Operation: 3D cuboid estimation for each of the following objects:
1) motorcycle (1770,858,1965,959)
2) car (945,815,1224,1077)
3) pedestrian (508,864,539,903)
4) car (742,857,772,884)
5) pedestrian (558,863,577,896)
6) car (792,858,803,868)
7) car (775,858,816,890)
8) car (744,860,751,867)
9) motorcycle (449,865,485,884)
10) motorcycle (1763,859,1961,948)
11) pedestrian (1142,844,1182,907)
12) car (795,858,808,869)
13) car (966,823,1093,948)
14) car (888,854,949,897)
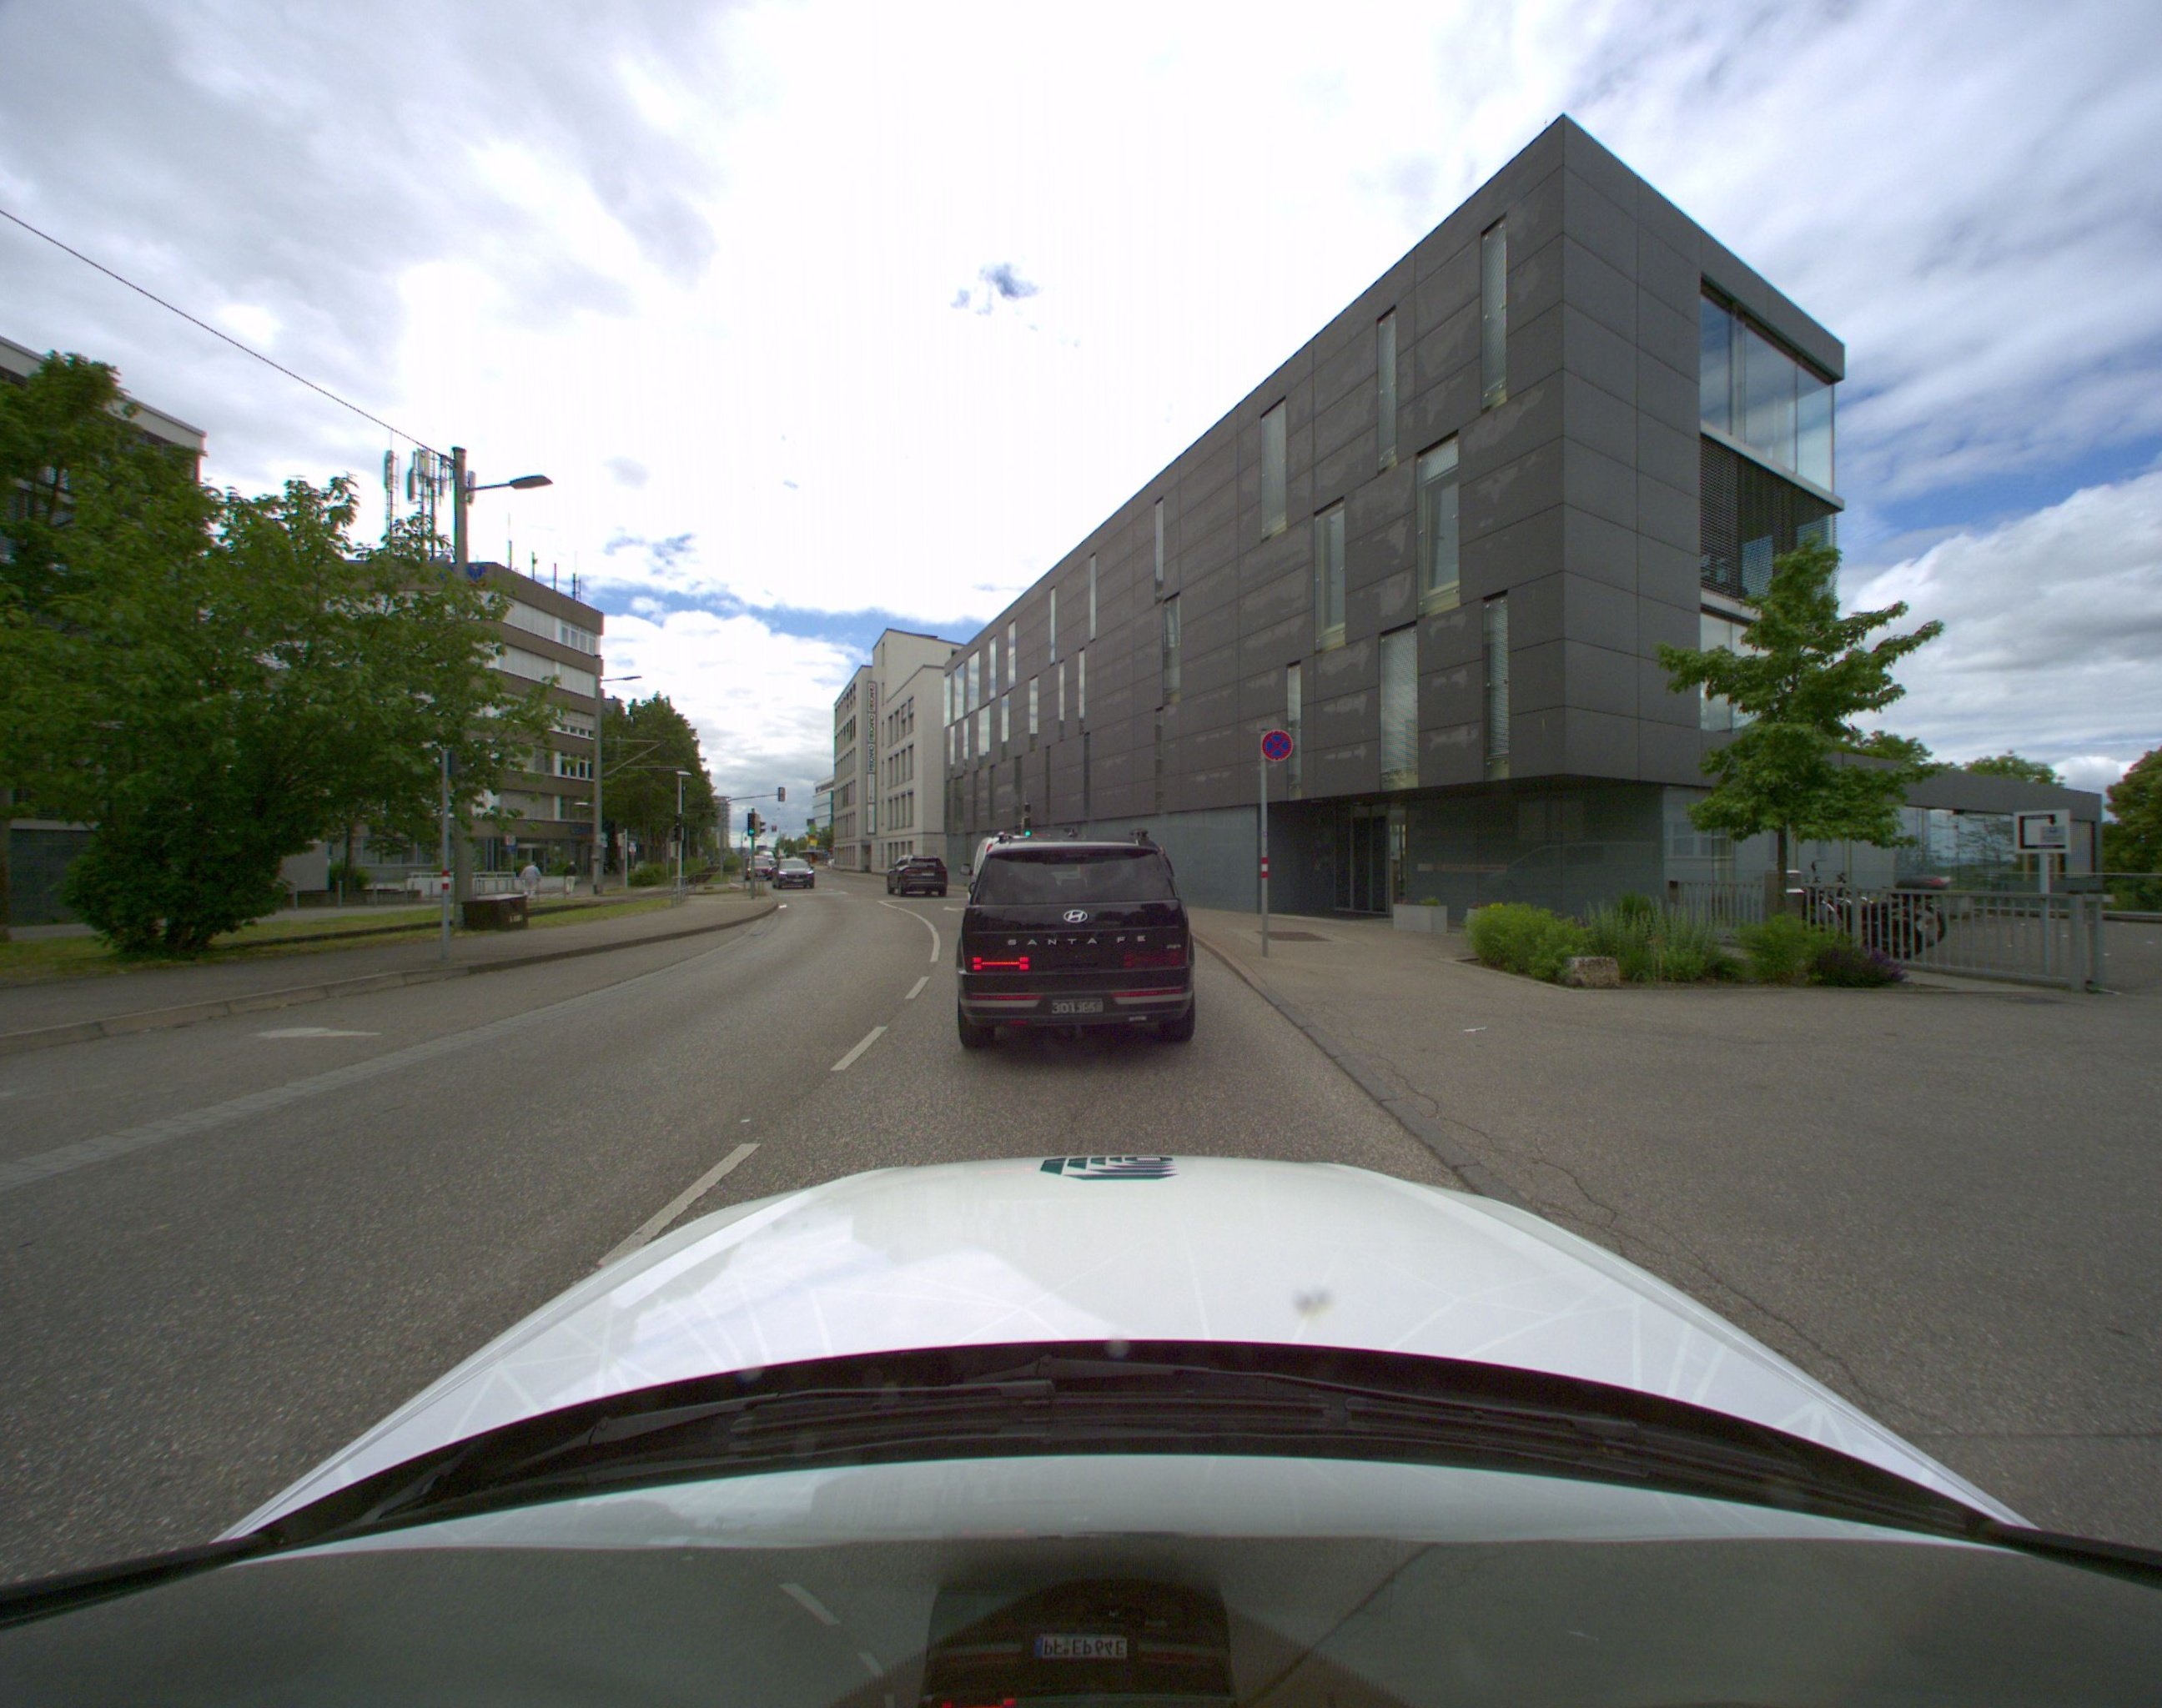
[{"bbox_3d":[12.030,0.772,12.566,0.669,1.393,2.112,0,1,-17],"label":"motorcycle"},{"bbox_3d":[-0.120,0.629,7.809,1.905,1.749,4.390,-1,0,-4],"label":"car"},{"bbox_3d":[-22.717,1.177,33.194,0.852,1.526,0.987,-2,0,-25],"label":"pedestrian"},{"bbox_3d":[-23.321,1.169,58.526,1.689,1.808,4.316,-2,0,-25],"label":"car"},{"bbox_3d":[-27.453,1.347,43.543,0.690,1.705,0.678,-2,0,-21],"label":"pedestrian"},{"bbox_3d":[-47.900,1.517,137.487,1.765,1.609,4.159,0,0,-20],"label":"car"},{"bbox_3d":[-14.820,1.000,42.156,1.775,1.479,3.970,-2,0,-22],"label":"car"},{"bbox_3d":[-90.453,2.611,221.121,1.673,1.882,3.970,0,0,-22],"label":"car"},{"bbox_3d":[-40.473,1.362,53.657,1.874,1.199,0.568,-1,0,-2],"label":"motorcycle"},{"bbox_3d":[13.351,0.780,14.053,0.669,1.393,2.449,0,0,-17],"label":"motorcycle"},{"bbox_3d":[2.241,0.577,22.501,0.717,1.694,0.856,1,-1,-37],"label":"pedestrian"},{"bbox_3d":[-41.471,1.341,120.758,1.765,1.609,4.159,0,0,-20],"label":"car"},{"bbox_3d":[-1.140,0.510,15.495,1.932,1.994,4.519,0,0,-10],"label":"car"},{"bbox_3d":[-6.629,0.816,32.919,1.765,1.609,4.159,0,0,-20],"label":"car"}]
